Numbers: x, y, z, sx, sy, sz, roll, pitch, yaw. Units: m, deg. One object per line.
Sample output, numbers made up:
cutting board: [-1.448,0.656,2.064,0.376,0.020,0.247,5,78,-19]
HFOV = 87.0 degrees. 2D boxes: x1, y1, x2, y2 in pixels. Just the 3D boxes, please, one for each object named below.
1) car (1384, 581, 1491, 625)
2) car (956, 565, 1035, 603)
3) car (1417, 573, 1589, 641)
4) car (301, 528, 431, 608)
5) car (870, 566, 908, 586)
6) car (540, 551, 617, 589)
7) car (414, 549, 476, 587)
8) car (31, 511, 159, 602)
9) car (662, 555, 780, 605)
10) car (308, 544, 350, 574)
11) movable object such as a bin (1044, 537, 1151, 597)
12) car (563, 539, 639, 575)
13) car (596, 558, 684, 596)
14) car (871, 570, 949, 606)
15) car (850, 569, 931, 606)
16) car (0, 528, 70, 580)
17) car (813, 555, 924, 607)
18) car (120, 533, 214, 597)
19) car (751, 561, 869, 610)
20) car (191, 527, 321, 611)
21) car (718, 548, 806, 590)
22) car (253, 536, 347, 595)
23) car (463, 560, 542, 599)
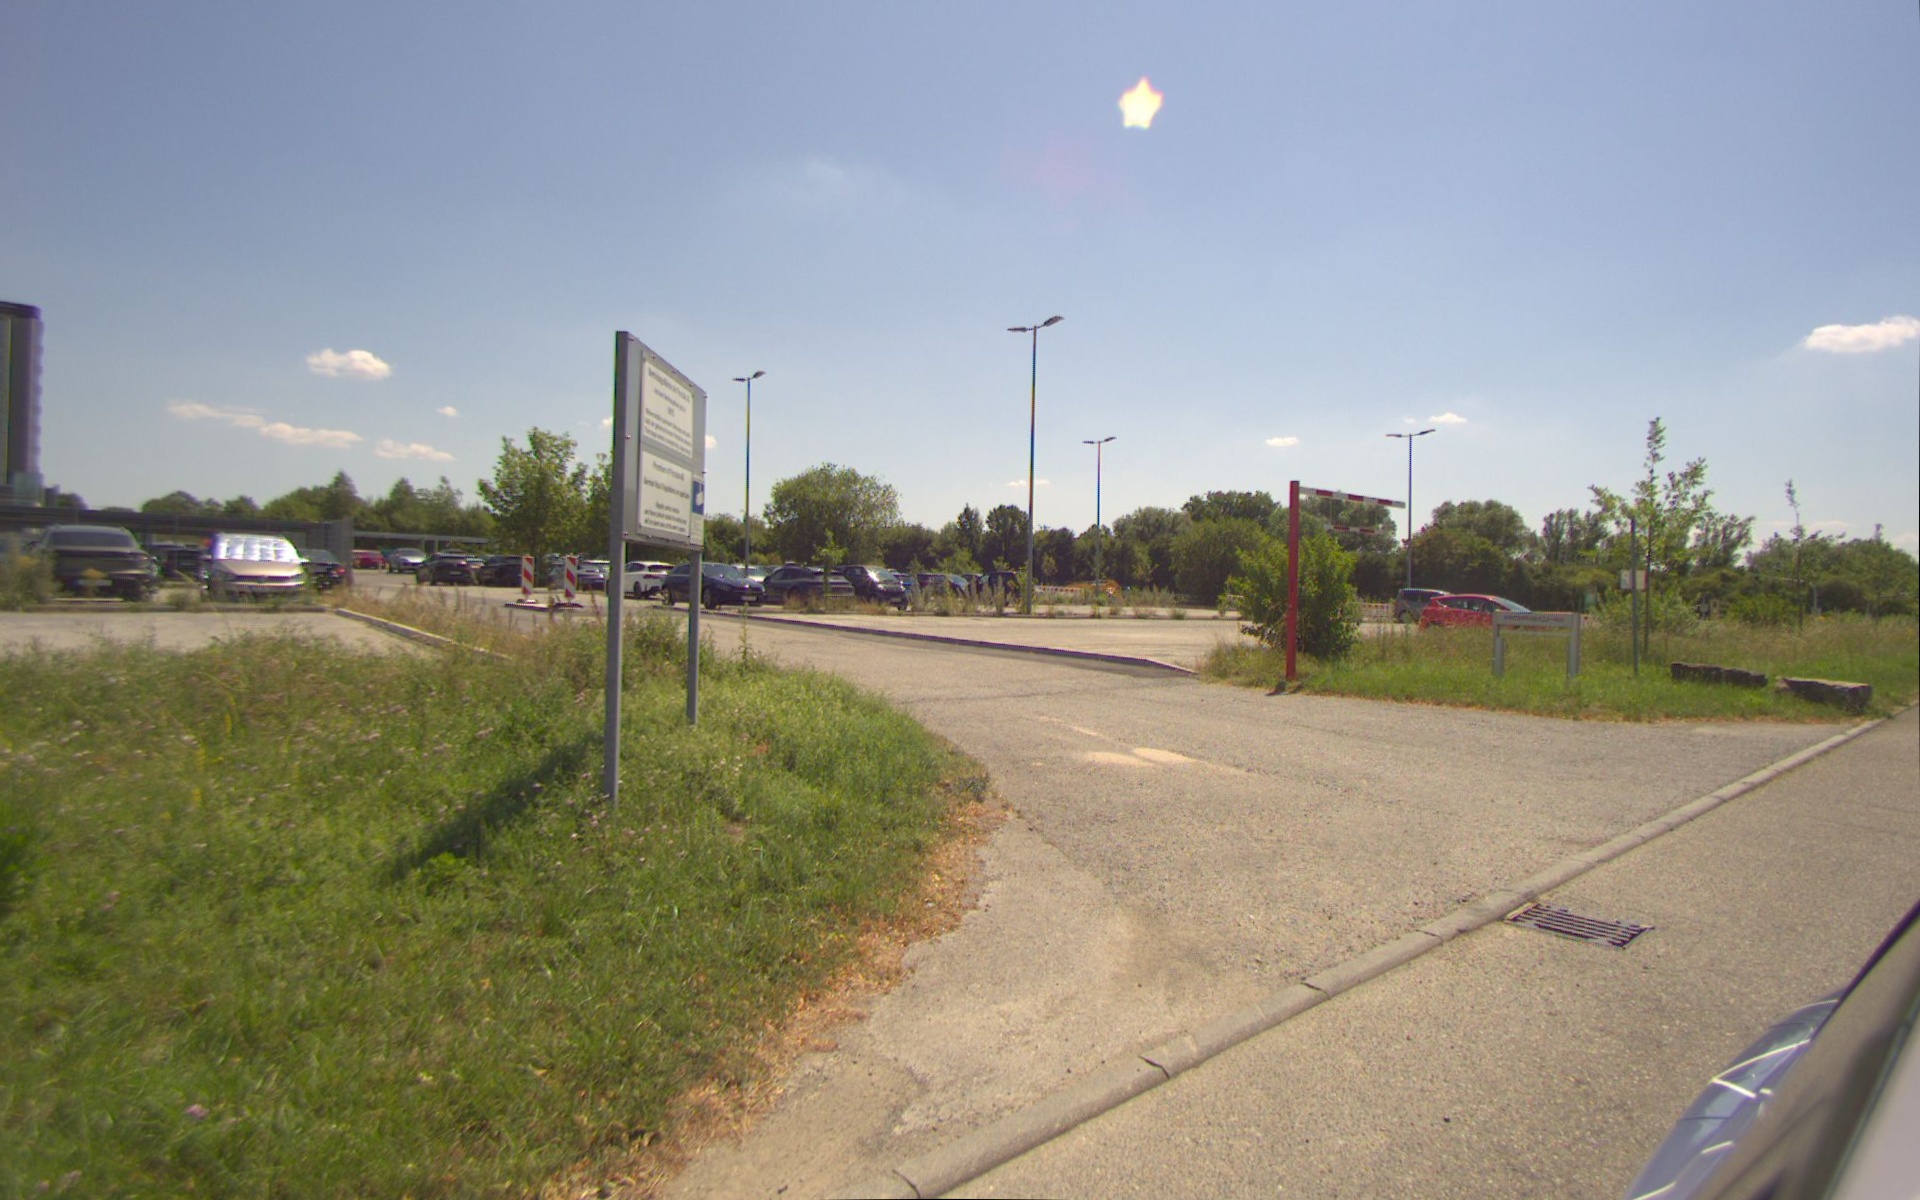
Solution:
car: [24.299,0.154,51.584,1.906,1.938,4.471,3,1,-42]
car: [1.822,-0.847,52.439,1.728,1.779,3.993,2,1,-43]
car: [15.787,0.158,29.591,1.893,1.745,3.996,1,2,-40]
car: [-14.231,-0.798,24.155,1.739,1.616,3.992,5,-1,-43]
car: [-5.902,-1.964,84.341,1.850,1.548,3.980,3,1,16]
car: [-16.711,-1.330,44.223,1.669,1.538,3.990,0,2,-45]
car: [-26.023,-1.653,51.060,1.763,1.660,3.995,5,-1,-41]
car: [-18.314,-0.950,21.352,1.739,1.616,4.372,5,-1,-43]
car: [-7.356,-0.629,30.872,1.893,1.412,3.996,1,2,-40]
car: [-48.437,-3.181,77.633,1.965,2.039,3.994,5,-1,-42]
movable object such as a bin: [10.993,-2.627,80.696,7.991,4.095,2.973,5,-1,15]
car: [-19.637,-2.362,55.283,3.980,1.660,1.972,5,-1,38]
car: [-12.727,-0.921,40.141,1.669,1.358,3.990,0,2,-45]
car: [-2.804,-0.690,56.479,3.980,1.660,1.972,5,-1,38]
car: [-3.329,-0.611,47.855,1.705,1.482,3.800,5,-1,-44]
car: [-25.402,-1.290,27.397,1.703,1.207,3.991,5,-1,-44]
car: [-3.231,-0.679,35.245,1.893,1.661,3.996,1,2,-40]
car: [-23.552,-1.058,30.004,1.739,1.616,3.992,5,-1,-43]
car: [-4.823,-0.490,32.264,1.893,1.412,3.996,1,2,-40]
car: [-15.949,-0.740,22.849,1.739,1.616,3.992,5,-1,-43]
car: [-9.546,-1.494,48.707,3.980,1.660,1.972,5,-1,38]
car: [-21.112,-1.132,32.325,1.739,1.616,3.992,5,-1,-43]
car: [-23.431,-1.076,51.807,3.980,1.660,1.972,5,-1,38]
